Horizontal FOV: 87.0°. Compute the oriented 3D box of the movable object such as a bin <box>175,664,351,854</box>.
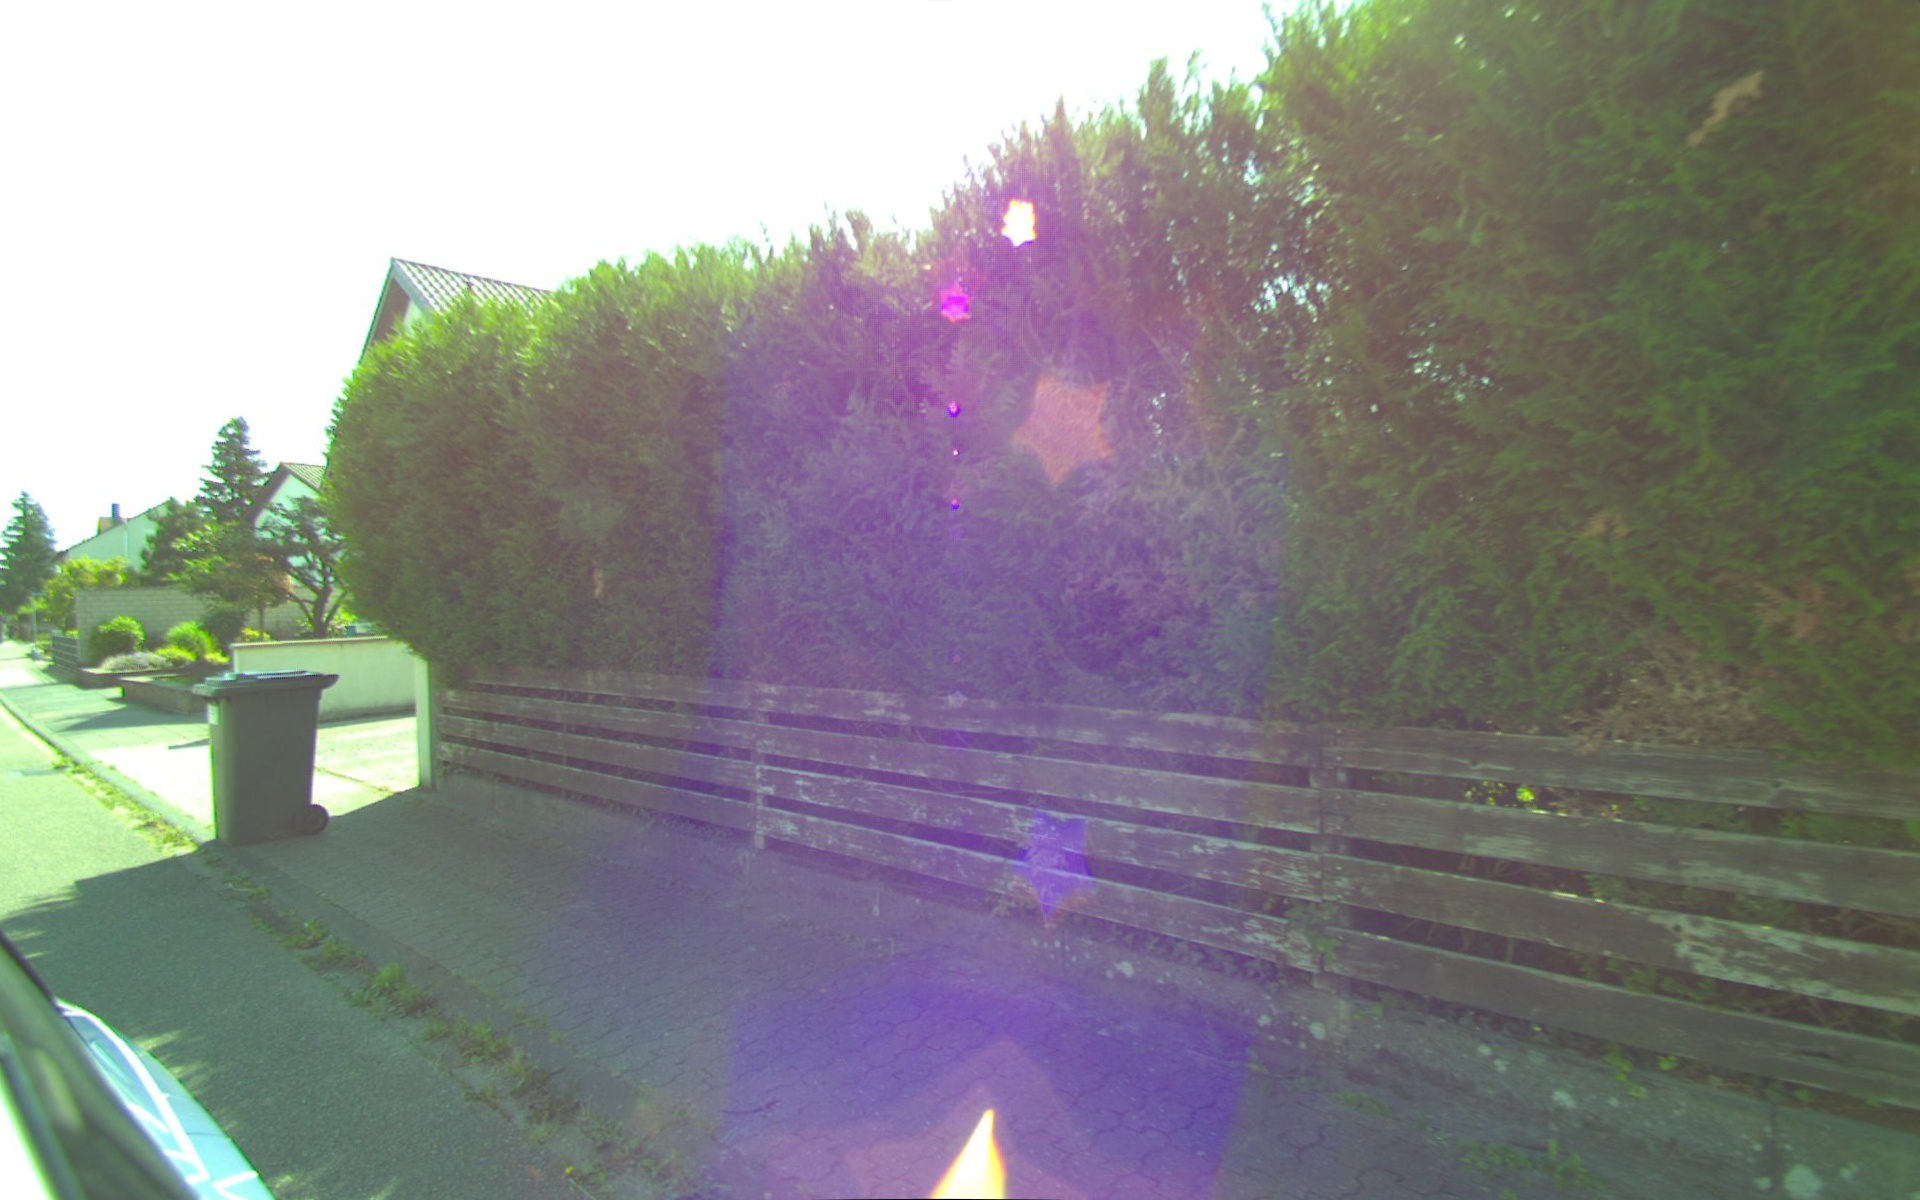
[{"bbox_3d":[-4.493,0.978,6.532,0.611,1.071,0.809,-2,-1,43],"label":"movable object such as a bin"}]
